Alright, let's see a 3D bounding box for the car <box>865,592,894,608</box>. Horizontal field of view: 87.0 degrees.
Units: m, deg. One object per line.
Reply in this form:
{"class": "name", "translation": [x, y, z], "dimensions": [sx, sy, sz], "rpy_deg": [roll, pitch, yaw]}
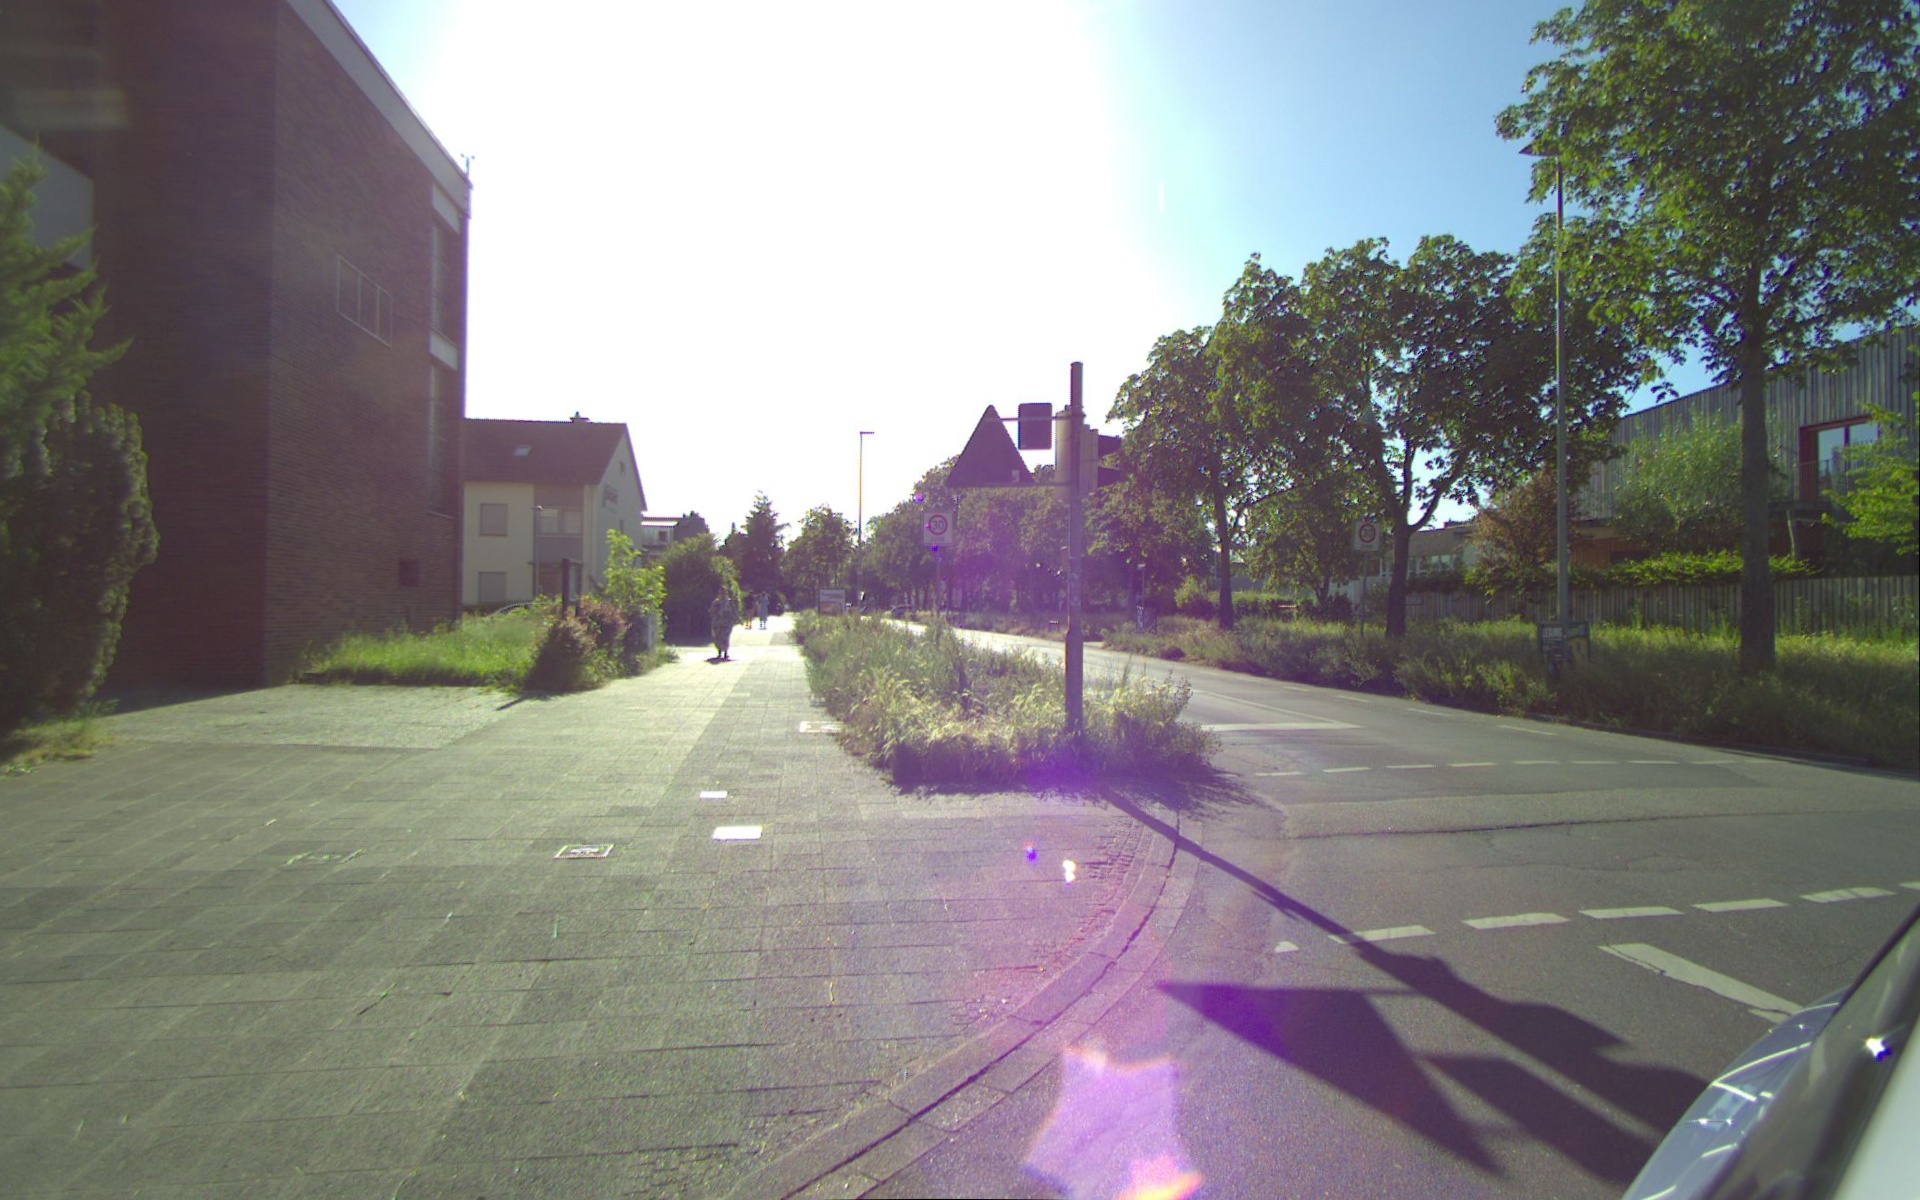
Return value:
{"class": "car", "translation": [-13.963, 0.038, 175.971], "dimensions": [5.023, 2.645, 2.128], "rpy_deg": [-1, 0, -6]}

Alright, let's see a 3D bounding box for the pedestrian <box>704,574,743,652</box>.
{"class": "pedestrian", "translation": [-5.736, 0.297, 24.500], "dimensions": [0.883, 1.844, 0.738], "rpy_deg": [-1, 0, -14]}

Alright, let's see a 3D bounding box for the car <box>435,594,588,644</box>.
{"class": "car", "translation": [-14.140, 0.609, 32.111], "dimensions": [4.122, 1.522, 1.808], "rpy_deg": [0, -1, -8]}

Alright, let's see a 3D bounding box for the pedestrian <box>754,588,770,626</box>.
{"class": "pedestrian", "translation": [-9.378, 0.322, 47.946], "dimensions": [0.546, 1.754, 0.660], "rpy_deg": [-1, 0, 8]}

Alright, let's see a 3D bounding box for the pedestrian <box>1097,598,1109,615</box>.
{"class": "pedestrian", "translation": [10.151, 0.432, 71.914], "dimensions": [0.627, 1.172, 0.522], "rpy_deg": [-3, 0, -10]}

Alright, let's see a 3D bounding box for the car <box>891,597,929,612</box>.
{"class": "car", "translation": [-5.622, 0.498, 113.198], "dimensions": [4.121, 1.581, 2.003], "rpy_deg": [-1, 0, -8]}

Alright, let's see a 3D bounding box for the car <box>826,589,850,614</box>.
{"class": "car", "translation": [-8.176, 0.073, 67.671], "dimensions": [1.467, 1.594, 3.606], "rpy_deg": [-1, 0, -9]}

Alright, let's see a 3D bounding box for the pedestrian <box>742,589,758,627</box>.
{"class": "pedestrian", "translation": [-9.966, 0.382, 48.026], "dimensions": [0.597, 1.754, 0.638], "rpy_deg": [-1, 0, 7]}
